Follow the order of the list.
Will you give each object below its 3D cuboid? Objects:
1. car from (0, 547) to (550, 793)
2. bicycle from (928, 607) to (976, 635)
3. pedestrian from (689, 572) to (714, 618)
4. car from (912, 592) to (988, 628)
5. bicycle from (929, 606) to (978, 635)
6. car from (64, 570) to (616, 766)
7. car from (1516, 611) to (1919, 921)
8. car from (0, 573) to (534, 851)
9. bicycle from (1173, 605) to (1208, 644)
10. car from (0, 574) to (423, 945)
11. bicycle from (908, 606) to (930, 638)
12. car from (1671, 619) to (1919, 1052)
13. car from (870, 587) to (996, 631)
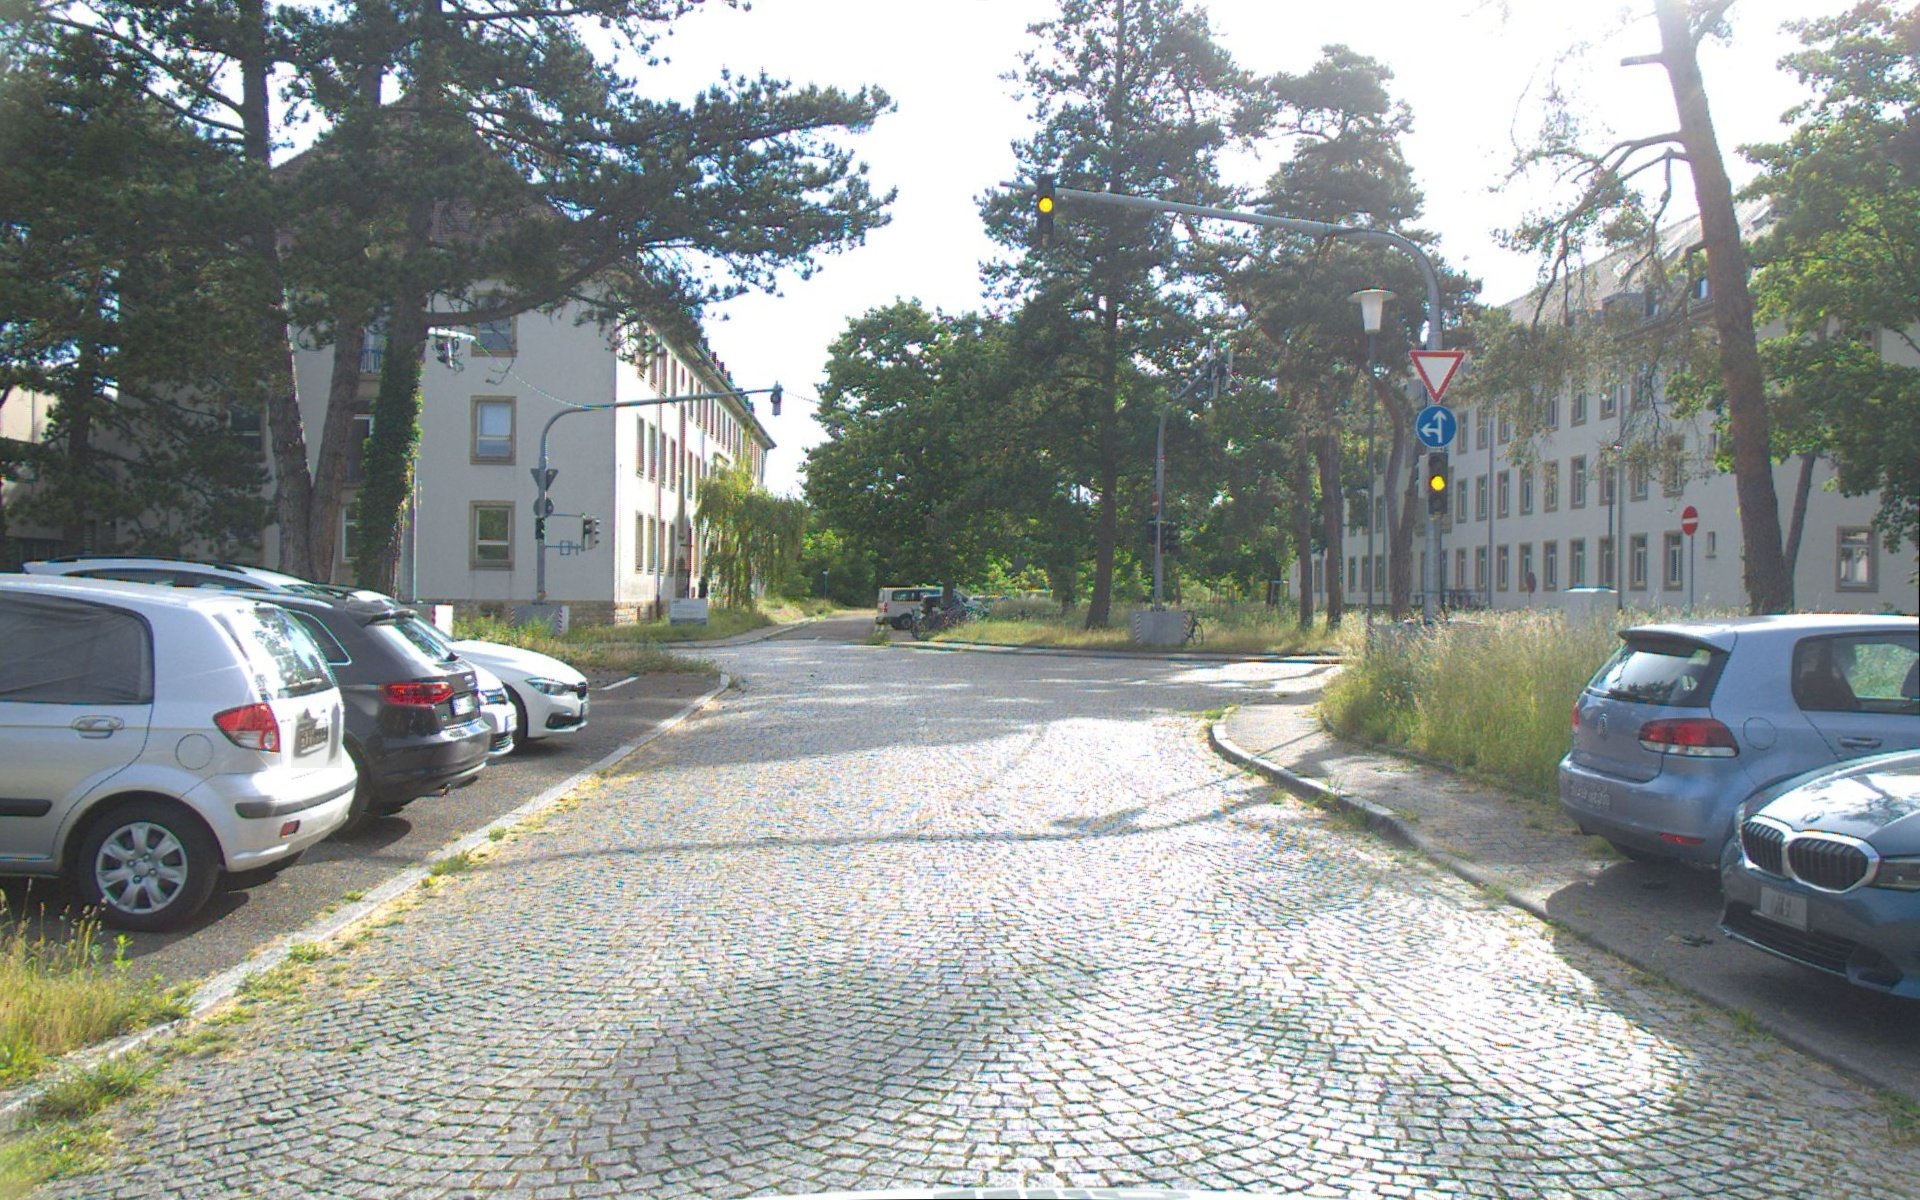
[{"bbox_3d":[-5.517,0.532,13.241,4.044,1.627,1.856,4,-1,-8],"label":"car"},{"bbox_3d":[-0.290,0.760,61.187,1.757,1.016,0.644,0,1,-4],"label":"bicycle"},{"bbox_3d":[-11.259,-0.217,71.971,0.966,1.998,0.932,1,-1,-3],"label":"pedestrian"},{"bbox_3d":[-0.449,0.443,72.538,2.982,1.491,1.713,1,-1,-16],"label":"car"},{"bbox_3d":[-0.242,0.752,60.168,1.757,1.016,0.644,0,1,-4],"label":"bicycle"},{"bbox_3d":[-5.722,0.604,15.775,4.498,1.480,1.901,4,1,-5],"label":"car"},{"bbox_3d":[5.696,0.829,9.347,4.455,1.532,1.931,0,0,-5],"label":"car"},{"bbox_3d":[-4.859,0.646,10.578,3.753,1.454,1.857,4,-1,-4],"label":"car"},{"bbox_3d":[6.444,0.676,46.326,0.551,1.016,1.749,0,1,-7],"label":"bicycle"},{"bbox_3d":[-4.702,0.631,7.929,3.611,1.499,1.848,4,-1,-5],"label":"car"},{"bbox_3d":[-1.421,0.748,56.515,0.713,1.016,1.798,0,1,-3],"label":"bicycle"},{"bbox_3d":[5.470,0.829,6.708,4.420,1.499,1.892,0,0,-7],"label":"car"},{"bbox_3d":[-1.266,0.416,76.065,5.413,1.949,2.244,1,-1,-17],"label":"car"}]
